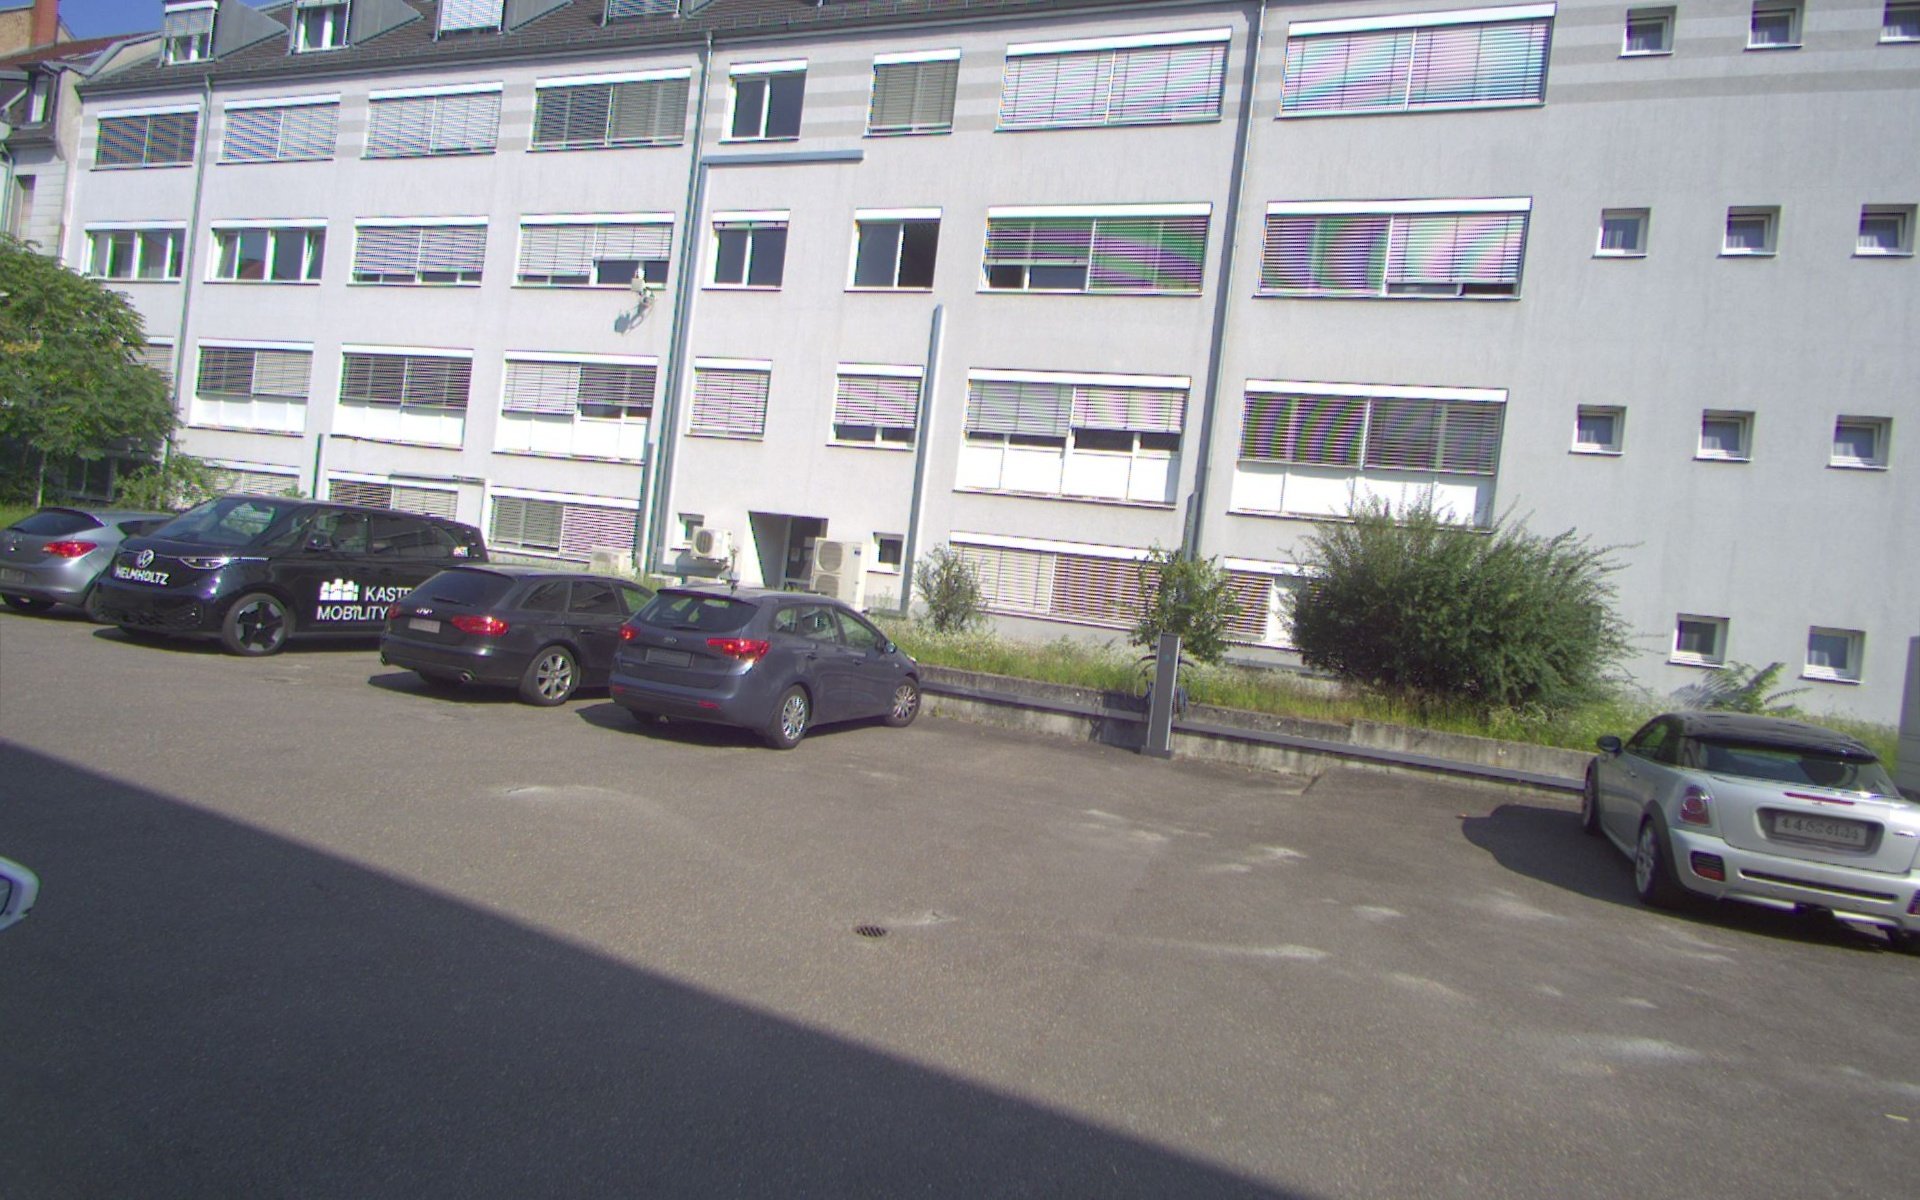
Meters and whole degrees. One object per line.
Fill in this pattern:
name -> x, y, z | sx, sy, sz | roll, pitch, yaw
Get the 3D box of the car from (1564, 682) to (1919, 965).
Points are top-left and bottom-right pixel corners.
car -> 6.176, 1.548, 8.058 | 1.629, 1.455, 3.580 | 7, 0, 23

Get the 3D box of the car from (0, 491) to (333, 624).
car -> -11.180, -0.507, 14.140 | 1.631, 1.484, 3.910 | 7, 0, 12

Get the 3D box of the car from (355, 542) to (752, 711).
car -> -4.457, 0.342, 11.796 | 1.660, 1.455, 4.244 | 7, 0, 24

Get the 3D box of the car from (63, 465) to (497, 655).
car -> -8.465, -0.382, 13.092 | 1.878, 1.882, 4.350 | 7, 0, 16

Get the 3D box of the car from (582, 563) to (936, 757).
car -> -1.893, 0.600, 10.858 | 1.710, 1.496, 4.059 | 7, 0, 21
